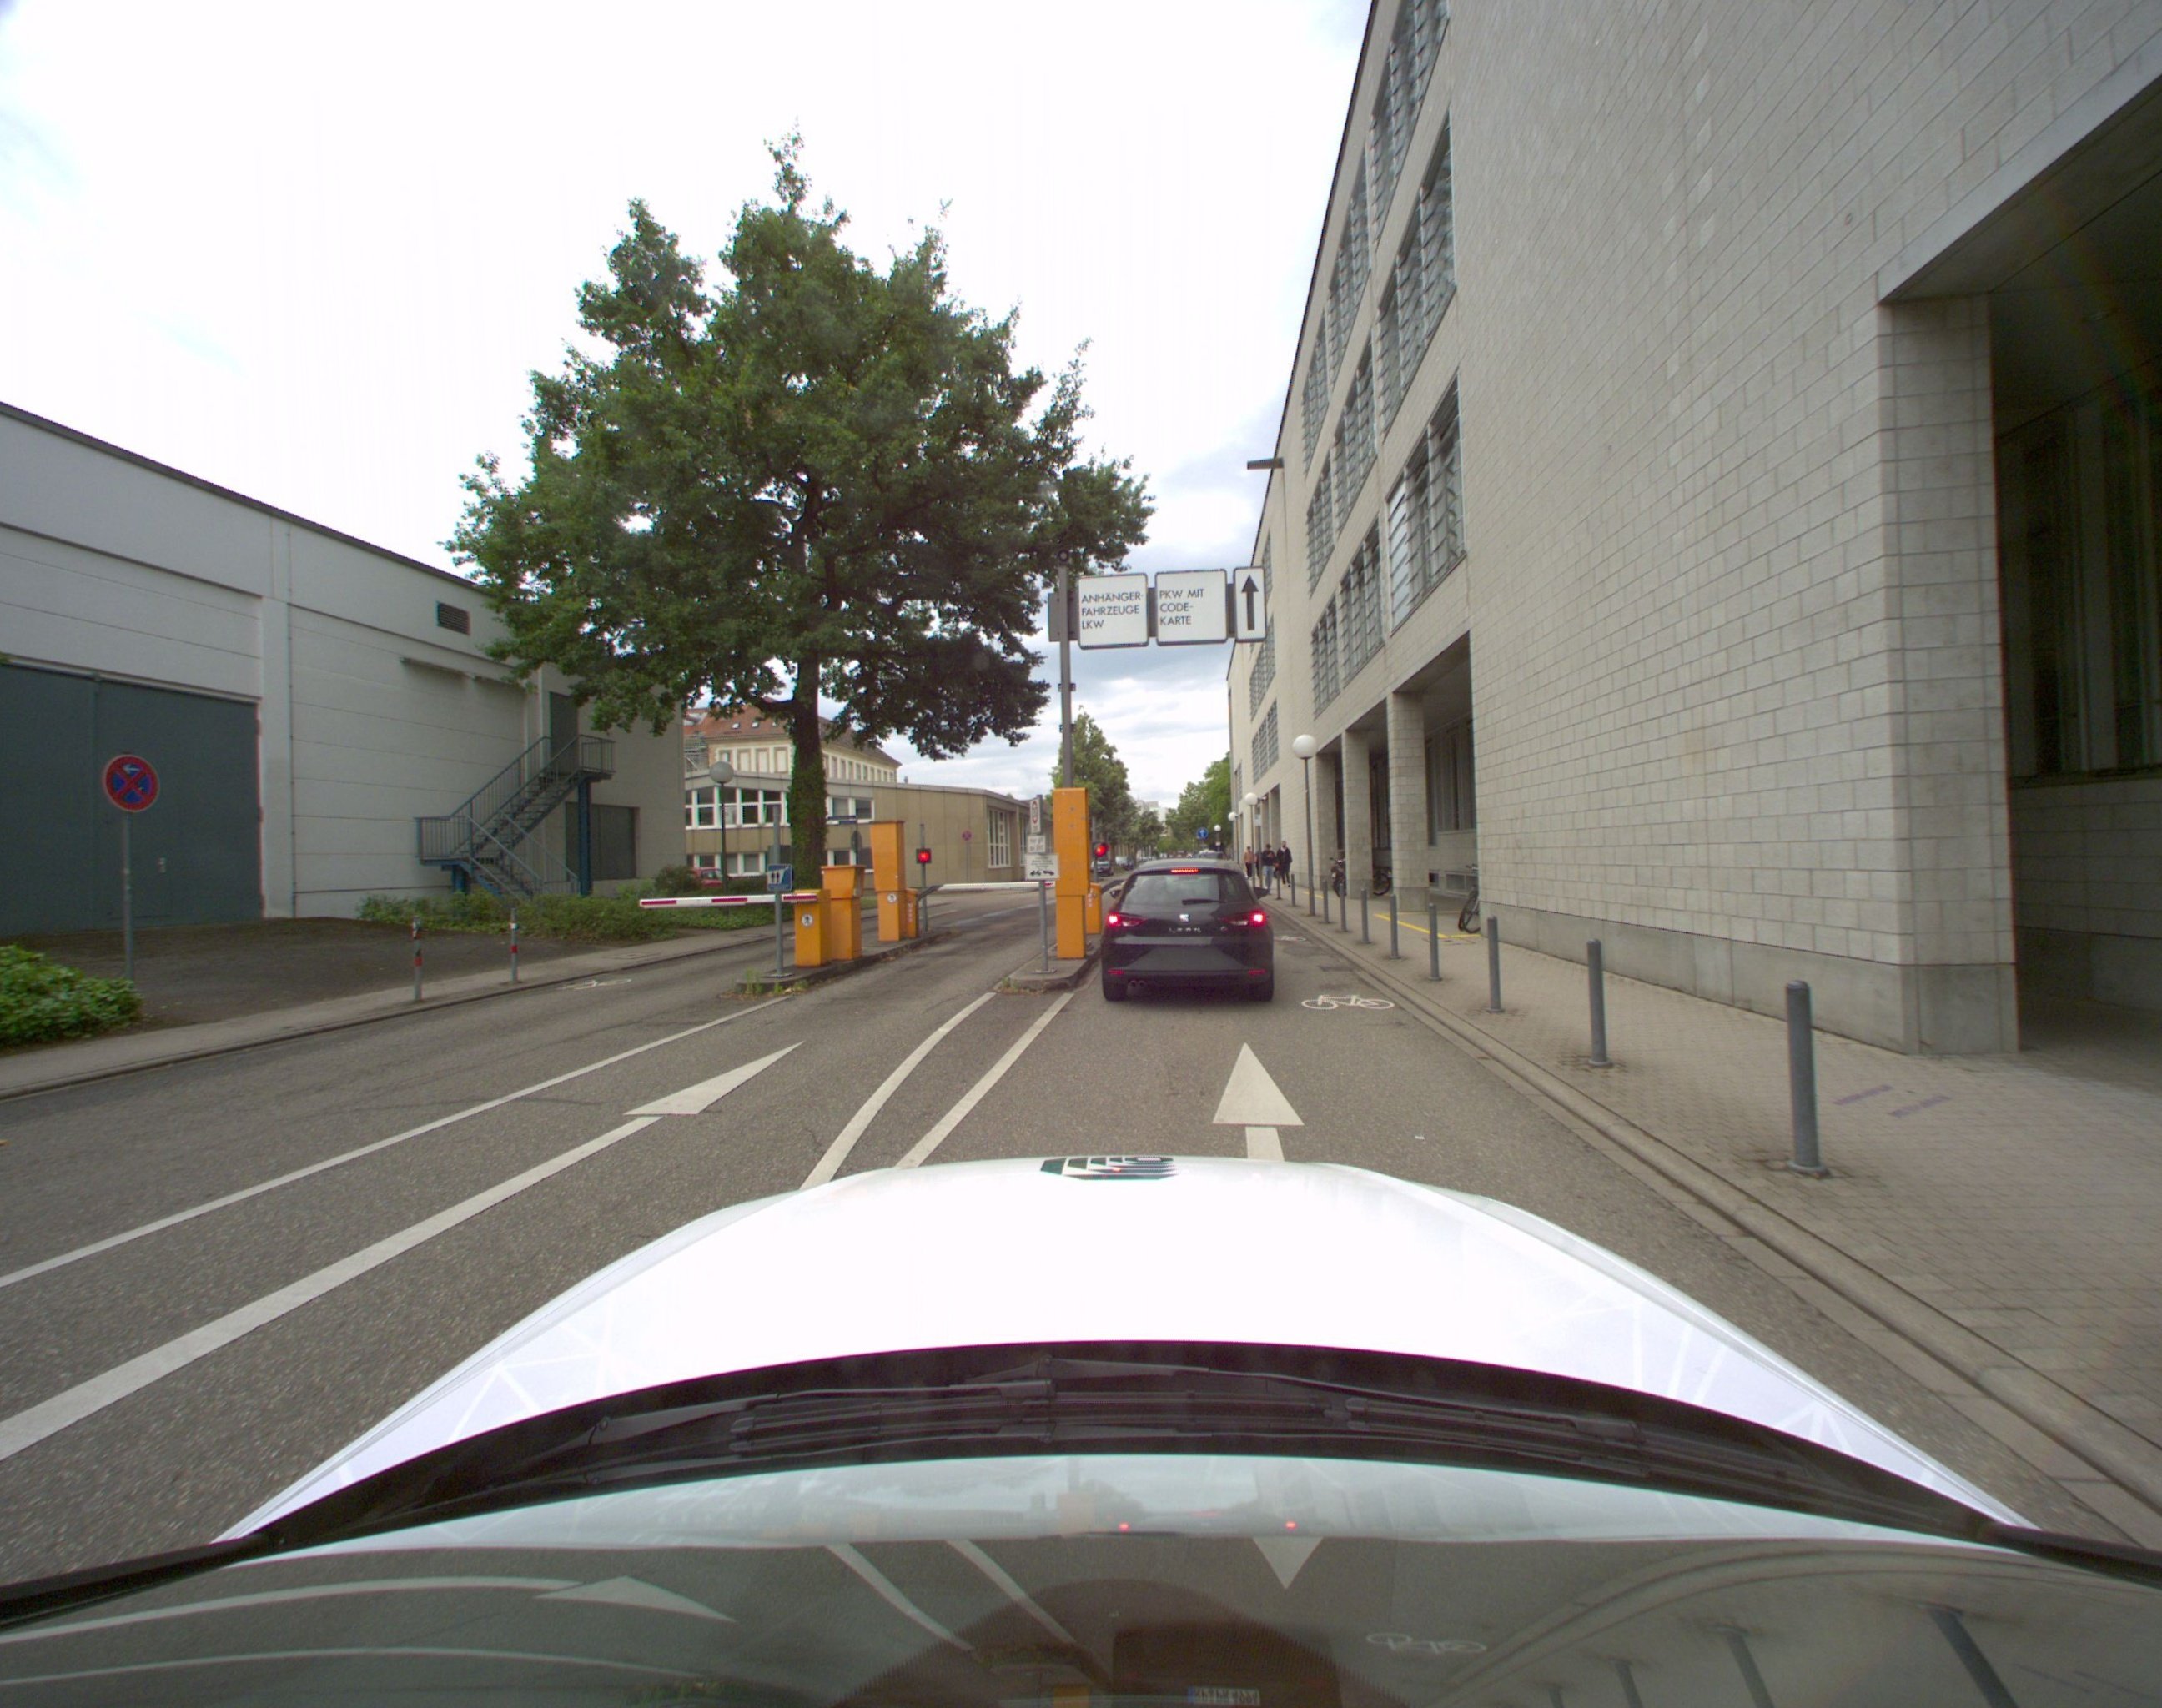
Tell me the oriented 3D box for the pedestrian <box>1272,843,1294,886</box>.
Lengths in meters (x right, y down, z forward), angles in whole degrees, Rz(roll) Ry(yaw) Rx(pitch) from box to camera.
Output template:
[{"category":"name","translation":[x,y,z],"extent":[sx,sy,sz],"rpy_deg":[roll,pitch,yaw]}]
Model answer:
[{"category":"pedestrian","translation":[8.184,0.406,33.022],"extent":[0.725,1.698,0.588],"rpy_deg":[-1,2,2]}]

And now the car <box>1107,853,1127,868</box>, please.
[{"category":"car","translation":[3.899,0.694,88.268],"extent":[1.760,1.601,4.008],"rpy_deg":[-2,0,7]}]

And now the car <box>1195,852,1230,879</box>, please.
[{"category":"car","translation":[8.426,0.731,52.598],"extent":[1.983,1.623,4.436],"rpy_deg":[-3,-1,7]}]

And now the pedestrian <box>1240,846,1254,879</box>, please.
[{"category":"pedestrian","translation":[8.867,0.449,43.484],"extent":[0.692,1.714,0.491],"rpy_deg":[-1,0,11]}]

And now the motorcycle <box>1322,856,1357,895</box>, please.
[{"category":"motorcycle","translation":[8.552,0.675,26.884],"extent":[0.560,1.148,2.231],"rpy_deg":[0,2,32]}]

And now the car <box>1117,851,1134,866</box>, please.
[{"category":"car","translation":[5.155,0.538,93.672],"extent":[1.761,1.601,4.006],"rpy_deg":[-1,0,5]}]

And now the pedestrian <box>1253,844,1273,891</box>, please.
[{"category":"pedestrian","translation":[6.812,0.486,30.537],"extent":[0.608,1.714,0.576],"rpy_deg":[-3,-1,8]}]

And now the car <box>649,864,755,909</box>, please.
[{"category":"car","translation":[-14.601,1.212,31.677],"extent":[1.853,1.530,4.008],"rpy_deg":[-2,0,7]}]

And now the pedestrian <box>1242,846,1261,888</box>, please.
[{"category":"pedestrian","translation":[7.084,0.535,33.875],"extent":[0.693,1.714,0.490],"rpy_deg":[-1,0,4]}]

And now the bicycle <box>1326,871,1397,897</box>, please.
[{"category":"bicycle","translation":[8.156,0.863,23.724],"extent":[1.888,0.698,0.493],"rpy_deg":[-1,2,3]}]

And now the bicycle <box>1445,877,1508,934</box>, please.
[{"category":"bicycle","translation":[6.681,0.840,13.700],"extent":[0.458,0.751,2.310],"rpy_deg":[-7,-2,37]}]

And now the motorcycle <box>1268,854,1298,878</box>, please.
[{"category":"motorcycle","translation":[10.781,0.624,43.359],"extent":[0.752,1.148,2.680],"rpy_deg":[0,2,32]}]

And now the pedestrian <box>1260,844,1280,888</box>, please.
[{"category":"pedestrian","translation":[7.413,0.462,31.944],"extent":[0.685,1.698,0.590],"rpy_deg":[-1,2,10]}]

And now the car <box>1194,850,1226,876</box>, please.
[{"category":"car","translation":[9.014,0.581,57.100],"extent":[1.983,1.622,4.437],"rpy_deg":[-3,0,7]}]

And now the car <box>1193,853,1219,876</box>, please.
[{"category":"car","translation":[10.590,0.861,69.195],"extent":[1.983,1.782,4.437],"rpy_deg":[-3,0,7]}]

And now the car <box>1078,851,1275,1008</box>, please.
[{"category":"car","translation":[1.124,0.697,9.572],"extent":[1.773,1.419,4.138],"rpy_deg":[-1,0,7]}]

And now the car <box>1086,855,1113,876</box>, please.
[{"category":"car","translation":[1.491,0.874,65.555],"extent":[1.761,1.601,4.007],"rpy_deg":[-2,0,6]}]
